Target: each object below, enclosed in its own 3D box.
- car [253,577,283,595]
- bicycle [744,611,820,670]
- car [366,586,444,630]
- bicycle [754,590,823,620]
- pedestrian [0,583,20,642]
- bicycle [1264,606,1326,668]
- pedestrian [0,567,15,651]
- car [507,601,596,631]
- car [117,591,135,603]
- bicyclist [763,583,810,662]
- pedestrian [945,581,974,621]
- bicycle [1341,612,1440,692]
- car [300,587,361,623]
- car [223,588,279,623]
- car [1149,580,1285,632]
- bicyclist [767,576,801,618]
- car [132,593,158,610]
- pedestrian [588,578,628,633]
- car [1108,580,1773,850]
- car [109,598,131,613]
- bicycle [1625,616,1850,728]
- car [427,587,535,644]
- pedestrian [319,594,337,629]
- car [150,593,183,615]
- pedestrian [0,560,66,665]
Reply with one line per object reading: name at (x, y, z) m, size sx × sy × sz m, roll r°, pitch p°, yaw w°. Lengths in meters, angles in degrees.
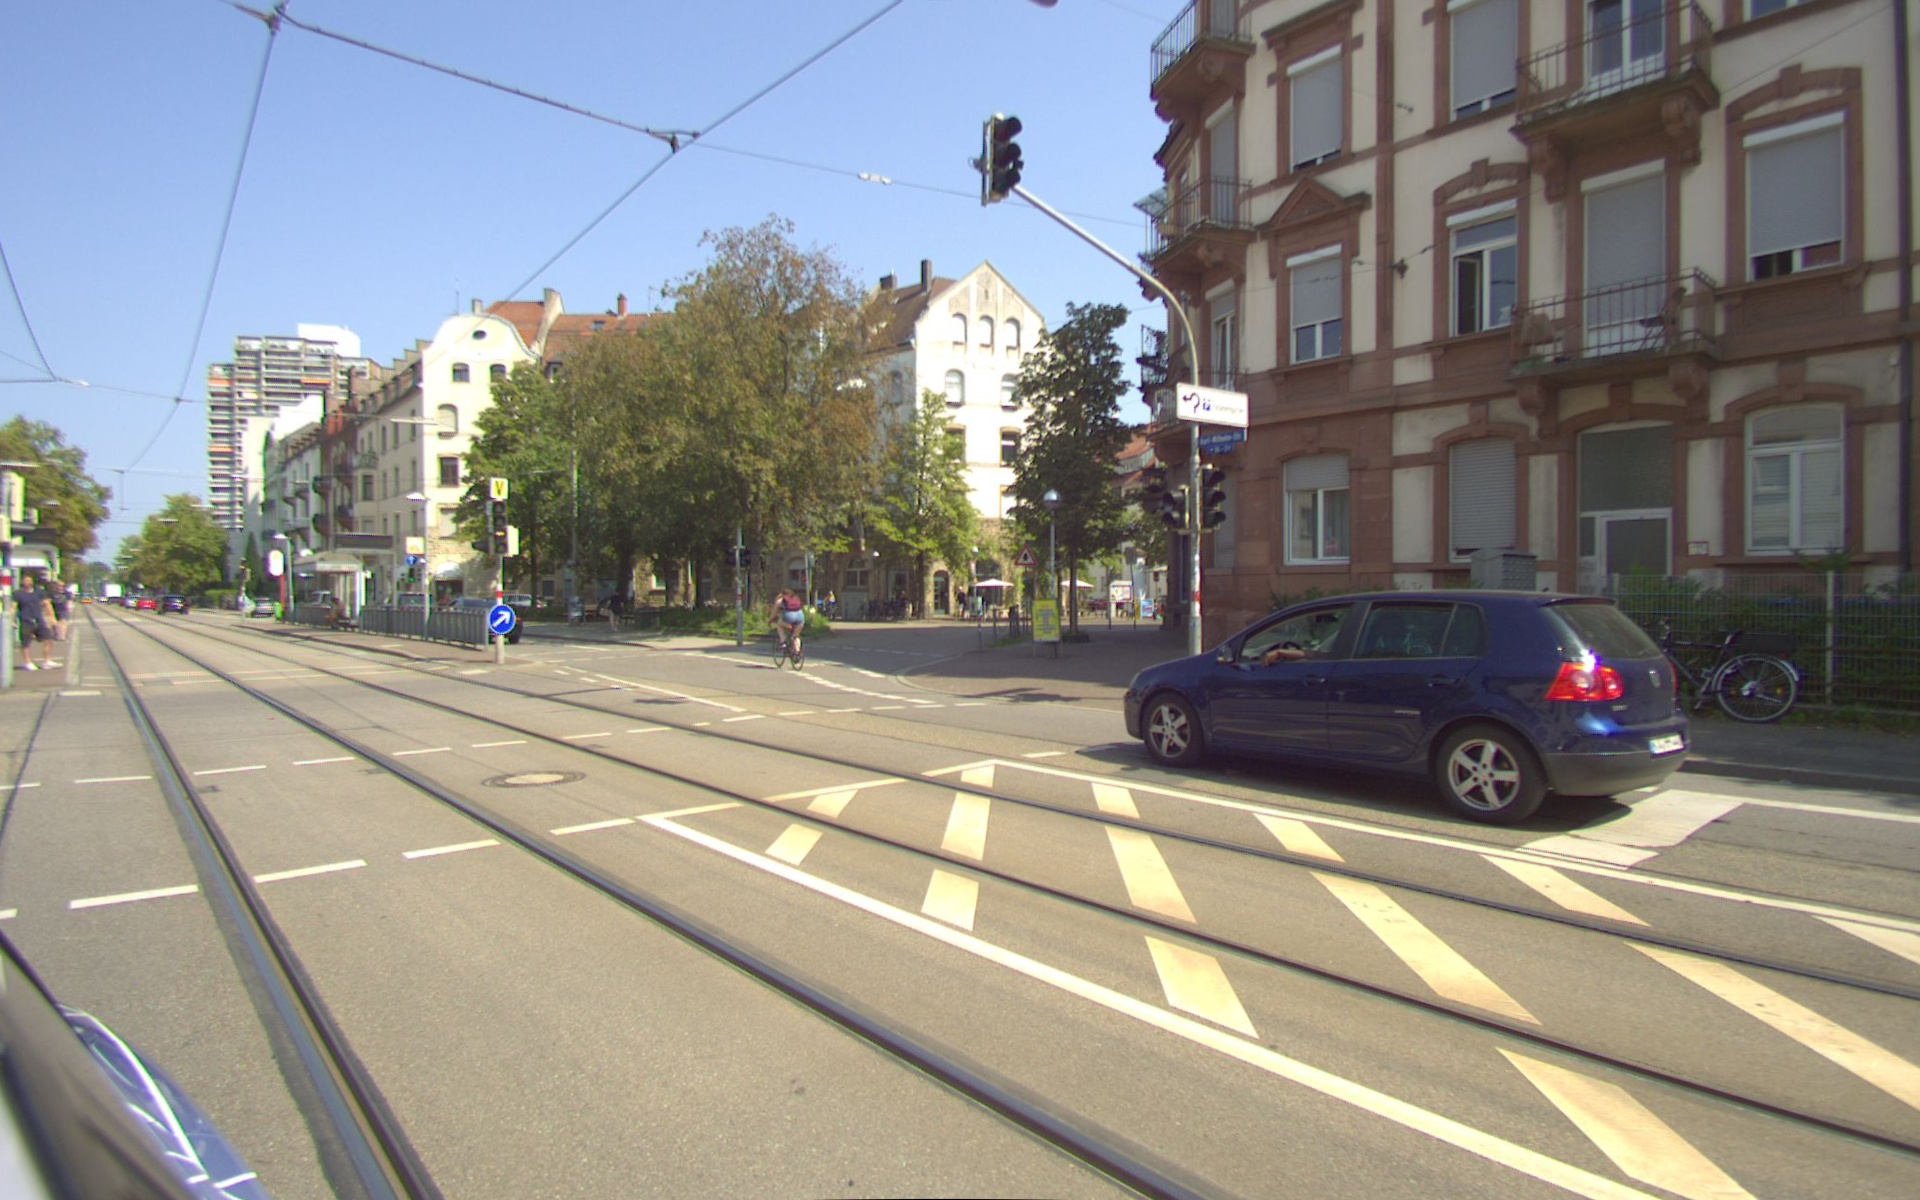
car at (-68.307, -1.378, 99.854) m, size 1.969 × 1.739 × 4.638 m, roll 1°, pitch -1°, yaw -40°
bicycle at (-3.464, 0.756, 19.607) m, size 0.573 × 1.074 × 1.846 m, roll 0°, pitch 0°, yaw -41°
car at (-22.076, 0.306, 40.170) m, size 1.968 × 1.660 × 4.640 m, roll 1°, pitch -1°, yaw -38°
bicycle at (-8.505, 0.260, 50.152) m, size 3.475 × 1.447 × 1.209 m, roll 0°, pitch 0°, yaw 33°
pedestrian at (-26.126, 0.340, 27.575) m, size 0.728 × 1.596 × 0.854 m, roll 0°, pitch 0°, yaw -42°
bicycle at (5.750, 0.616, 17.439) m, size 0.388 × 1.005 × 1.680 m, roll 0°, pitch 0°, yaw -4°
pedestrian at (-22.180, 0.205, 23.131) m, size 0.664 × 1.899 × 0.925 m, roll 0°, pitch 0°, yaw -31°
car at (-24.630, 0.946, 61.049) m, size 4.569 × 1.739 × 1.998 m, roll 1°, pitch -1°, yaw 3°
car at (-121.976, -0.391, 147.994) m, size 1.969 × 1.739 × 4.638 m, roll 1°, pitch -1°, yaw -40°
bicyclist at (-3.337, 0.415, 19.462) m, size 0.573 × 1.481 × 0.777 m, roll 0°, pitch 0°, yaw -41°
pedestrian at (-0.021, 0.043, 51.951) m, size 1.019 × 2.028 × 1.097 m, roll -2°, pitch 2°, yaw -36°
bicycle at (5.958, 0.691, 14.122) m, size 0.481 × 1.005 × 1.831 m, roll 0°, pitch 0°, yaw -4°
car at (-31.948, 0.279, 51.302) m, size 1.969 × 1.739 × 4.638 m, roll 1°, pitch -1°, yaw -40°
car at (-36.897, 0.308, 52.639) m, size 1.968 × 1.739 × 4.638 m, roll 1°, pitch -1°, yaw -40°
car at (10.432, 0.219, 41.079) m, size 4.941 × 2.029 × 2.173 m, roll 0°, pitch 0°, yaw -19°
bicyclist at (-8.746, -0.170, 50.292) m, size 1.209 × 2.029 × 1.195 m, roll 1°, pitch 1°, yaw 34°
car at (-85.534, 0.147, 106.249) m, size 1.969 × 1.739 × 4.638 m, roll 1°, pitch -1°, yaw -40°
pedestrian at (-13.154, 0.193, 37.833) m, size 1.078 × 2.028 × 1.038 m, roll -2°, pitch 2°, yaw -42°
car at (3.240, 0.610, 7.599) m, size 1.704 × 1.444 × 4.185 m, roll 1°, pitch 0°, yaw -38°
car at (-102.648, 0.634, 123.695) m, size 1.969 × 1.739 × 4.638 m, roll 1°, pitch -1°, yaw -40°
bicycle at (7.972, 0.697, 10.460) m, size 0.481 × 1.029 × 1.781 m, roll 0°, pitch 0°, yaw -38°
car at (-15.083, 0.465, 31.746) m, size 1.968 × 1.660 × 4.639 m, roll 1°, pitch -1°, yaw -39°
pedestrian at (-22.846, 0.410, 36.593) m, size 0.472 × 1.260 × 0.649 m, roll 0°, pitch 0°, yaw -40°
car at (-66.532, 0.350, 84.830) m, size 1.969 × 1.739 × 4.638 m, roll 1°, pitch -1°, yaw -40°
pedestrian at (-17.452, 0.229, 18.899) m, size 0.669 × 1.899 × 0.919 m, roll 0°, pitch 0°, yaw 13°
